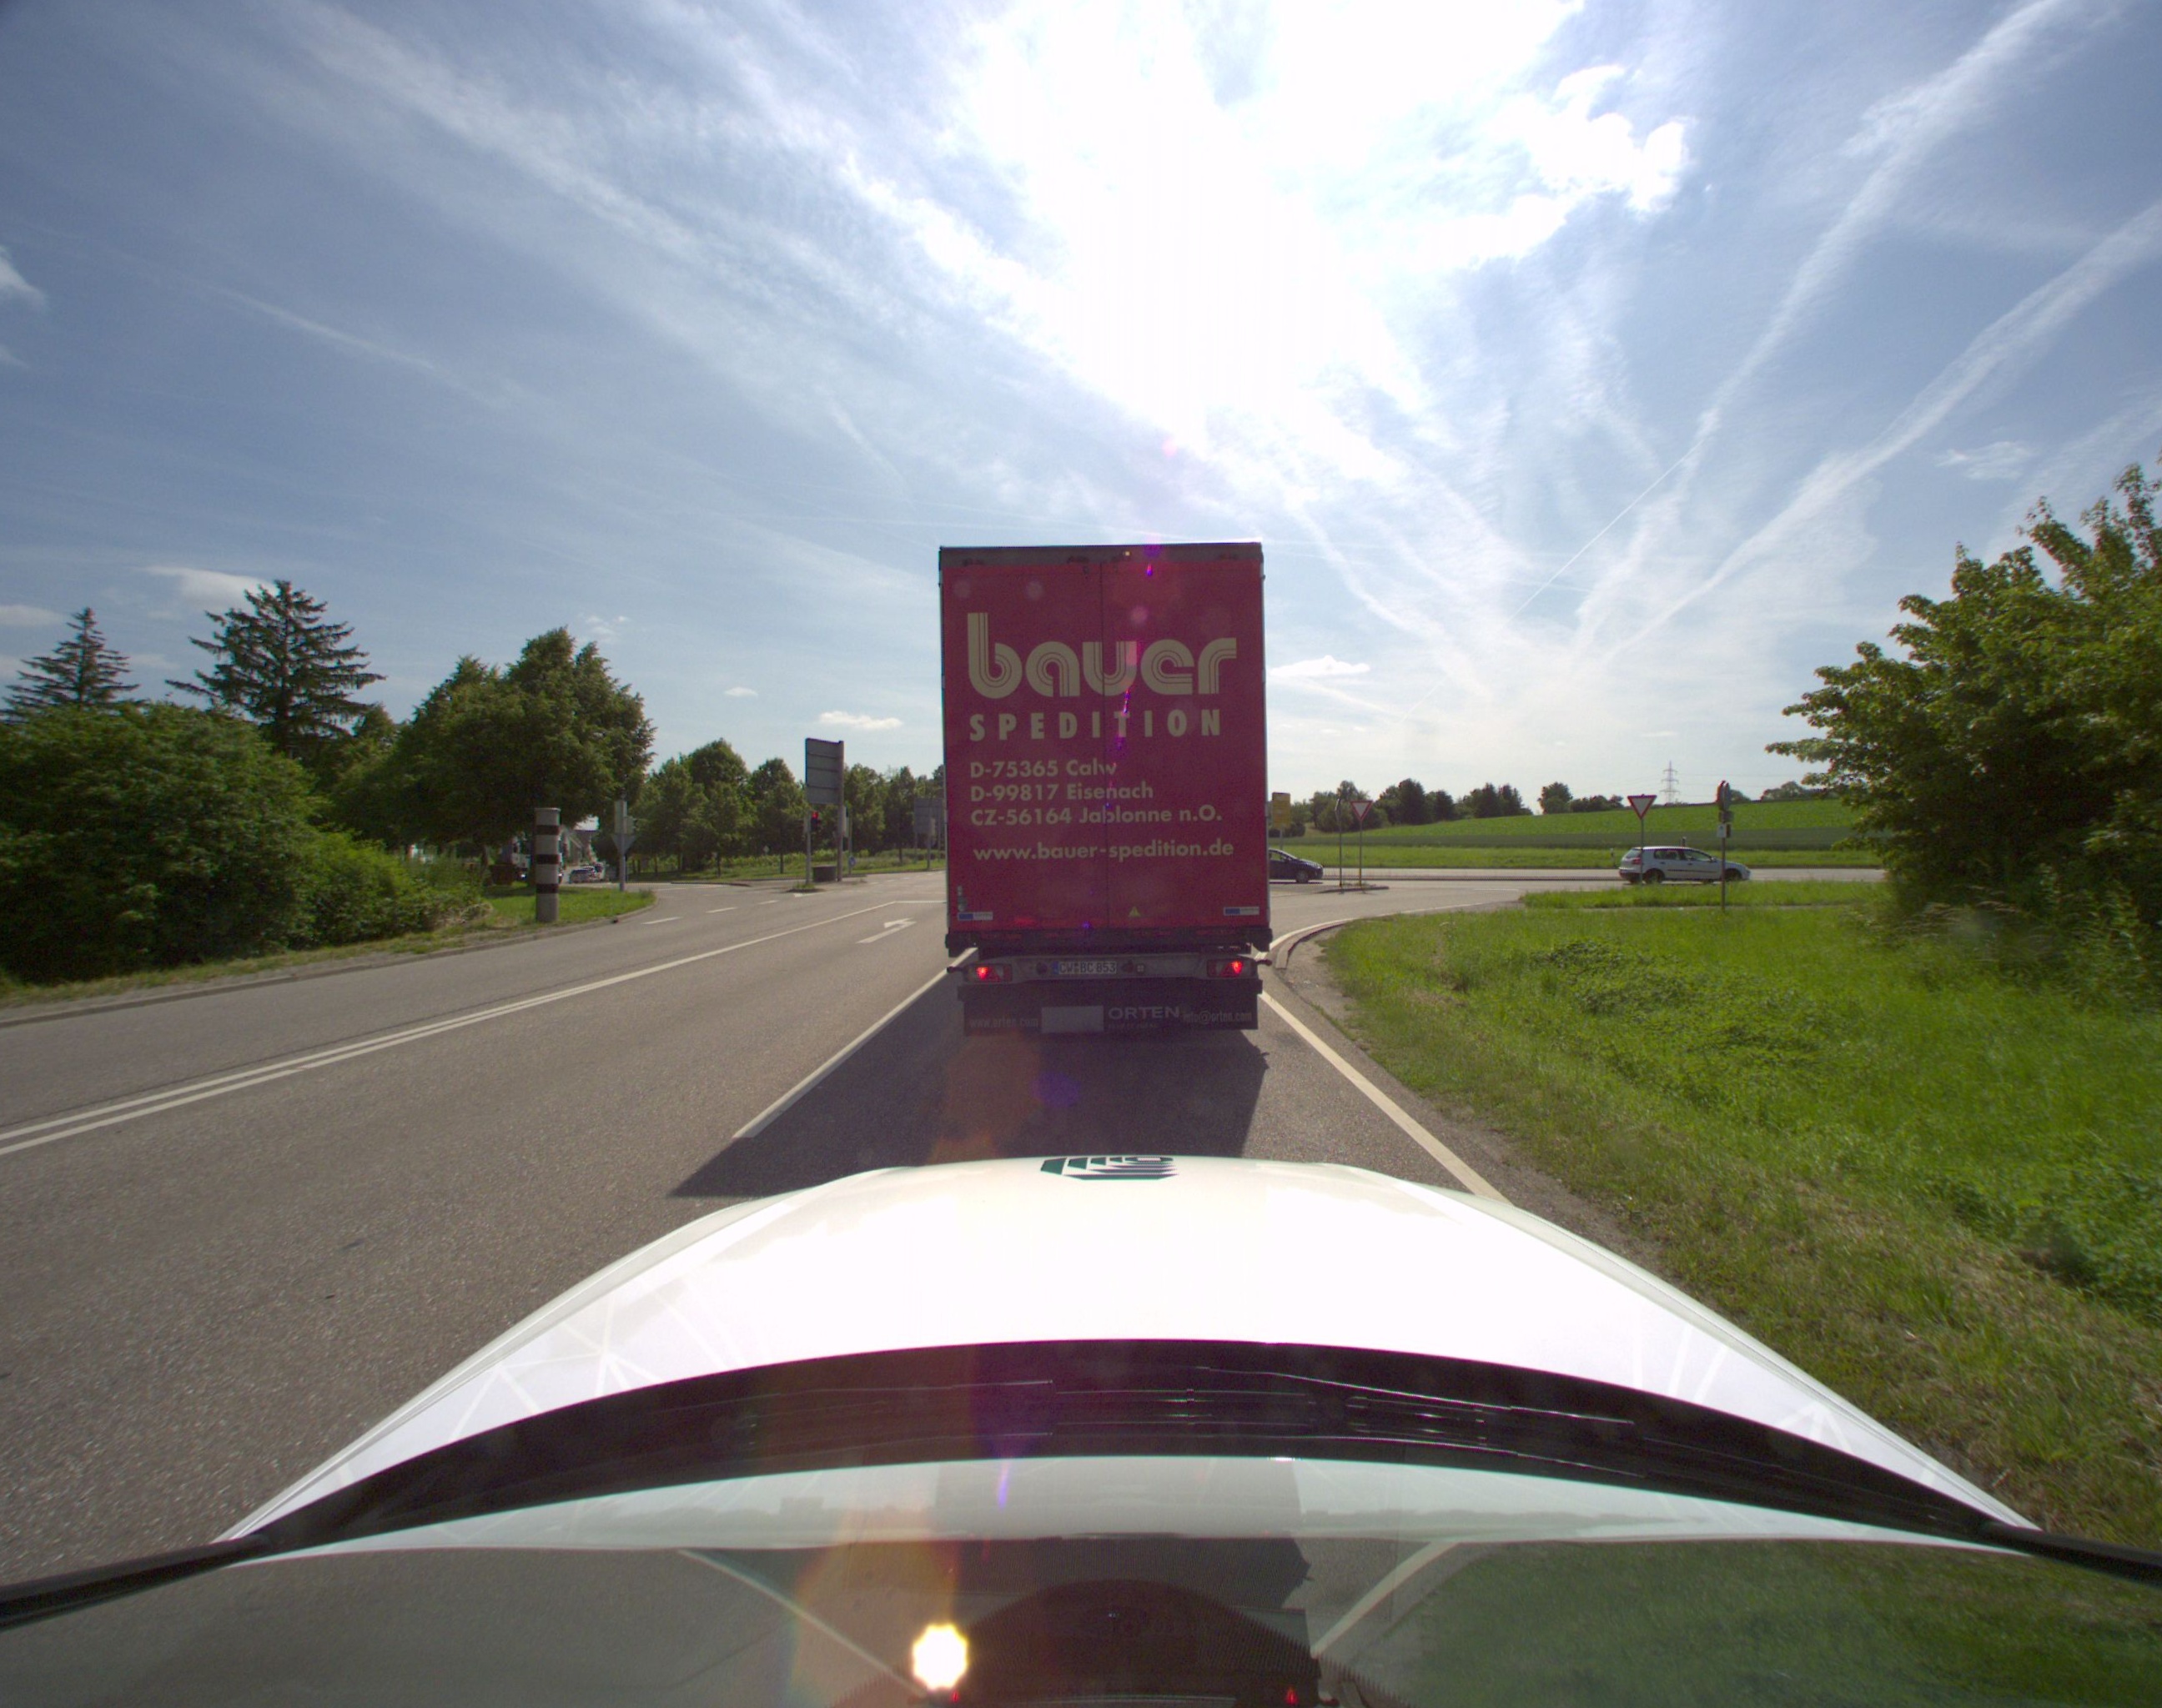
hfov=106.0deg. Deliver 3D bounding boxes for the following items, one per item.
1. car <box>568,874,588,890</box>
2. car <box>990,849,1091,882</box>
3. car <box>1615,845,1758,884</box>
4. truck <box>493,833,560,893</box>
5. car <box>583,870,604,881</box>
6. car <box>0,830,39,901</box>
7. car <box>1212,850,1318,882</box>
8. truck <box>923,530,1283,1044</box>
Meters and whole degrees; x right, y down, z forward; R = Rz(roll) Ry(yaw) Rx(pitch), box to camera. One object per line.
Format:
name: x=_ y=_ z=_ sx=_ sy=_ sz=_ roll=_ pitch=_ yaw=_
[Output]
car: x=-49.883 y=2.770 z=80.831 sx=1.542 sy=1.491 sz=3.969 roll=0 pitch=-1 yaw=-30
car: x=-1.821 y=0.524 z=36.931 sx=4.235 sy=1.429 sz=1.749 roll=0 pitch=-1 yaw=15
car: x=23.055 y=0.376 z=31.166 sx=4.007 sy=1.416 sz=1.802 roll=0 pitch=1 yaw=13
truck: x=-37.709 y=0.606 z=55.267 sx=2.962 sy=3.798 sz=7.834 roll=0 pitch=-1 yaw=-40
car: x=-65.717 y=2.976 z=109.799 sx=1.676 sy=1.357 sz=3.835 roll=-2 pitch=-1 yaw=-19
car: x=-35.317 y=0.330 z=24.420 sx=4.601 sy=2.180 sz=1.985 roll=0 pitch=0 yaw=-22
car: x=7.698 y=0.494 z=34.057 sx=4.235 sy=1.305 sz=1.749 roll=0 pitch=-1 yaw=15
truck: x=0.398 y=-0.569 z=14.588 sx=2.724 sy=3.925 sz=16.631 roll=-1 pitch=0 yaw=2
